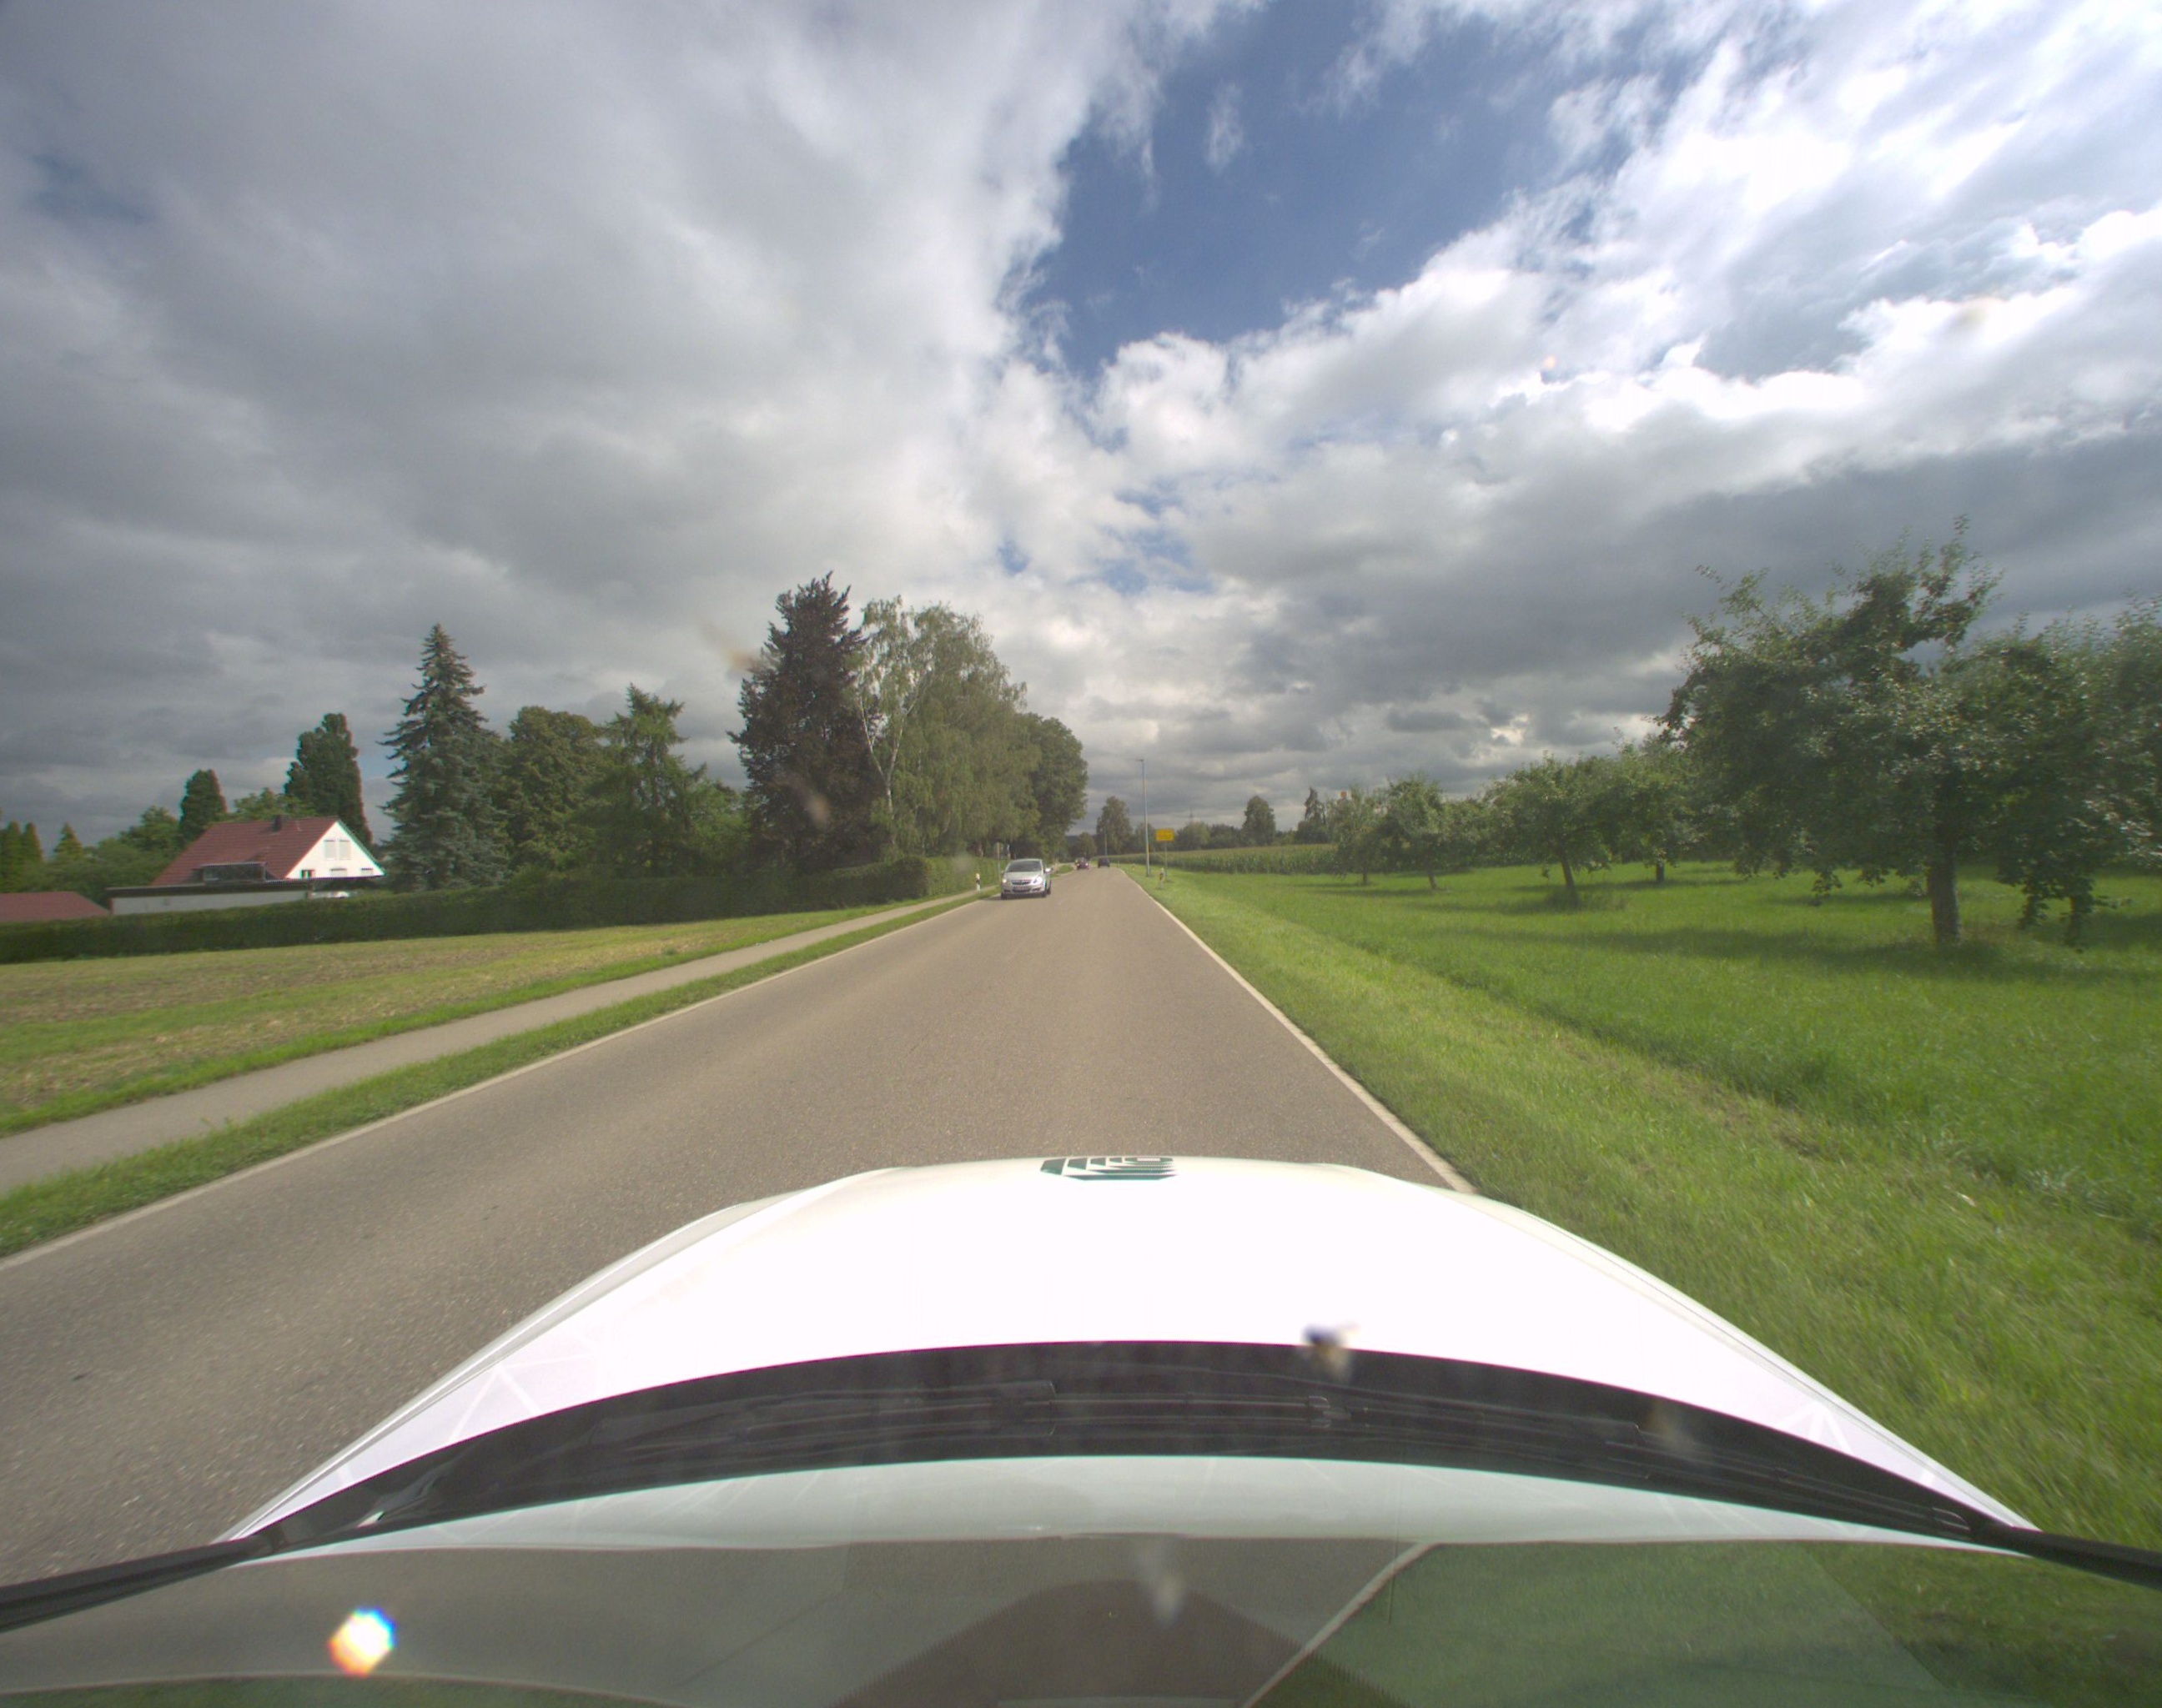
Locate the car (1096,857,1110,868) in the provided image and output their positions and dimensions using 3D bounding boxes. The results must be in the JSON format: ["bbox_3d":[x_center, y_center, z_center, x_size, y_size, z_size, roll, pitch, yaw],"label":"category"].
[{"bbox_3d":[3.469,1.339,129.417,1.900,1.666,3.999,-3,0,0],"label":"car"}]

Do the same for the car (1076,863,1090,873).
[{"bbox_3d":[0.284,2.010,117.439,1.739,1.222,3.544,-4,-1,2],"label":"car"}]

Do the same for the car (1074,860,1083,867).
[{"bbox_3d":[-0.486,2.136,183.672,1.739,1.222,3.544,-4,0,2],"label":"car"}]

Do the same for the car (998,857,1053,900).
[{"bbox_3d":[-2.066,0.883,31.141,1.688,1.459,3.544,-3,0,2],"label":"car"}]
